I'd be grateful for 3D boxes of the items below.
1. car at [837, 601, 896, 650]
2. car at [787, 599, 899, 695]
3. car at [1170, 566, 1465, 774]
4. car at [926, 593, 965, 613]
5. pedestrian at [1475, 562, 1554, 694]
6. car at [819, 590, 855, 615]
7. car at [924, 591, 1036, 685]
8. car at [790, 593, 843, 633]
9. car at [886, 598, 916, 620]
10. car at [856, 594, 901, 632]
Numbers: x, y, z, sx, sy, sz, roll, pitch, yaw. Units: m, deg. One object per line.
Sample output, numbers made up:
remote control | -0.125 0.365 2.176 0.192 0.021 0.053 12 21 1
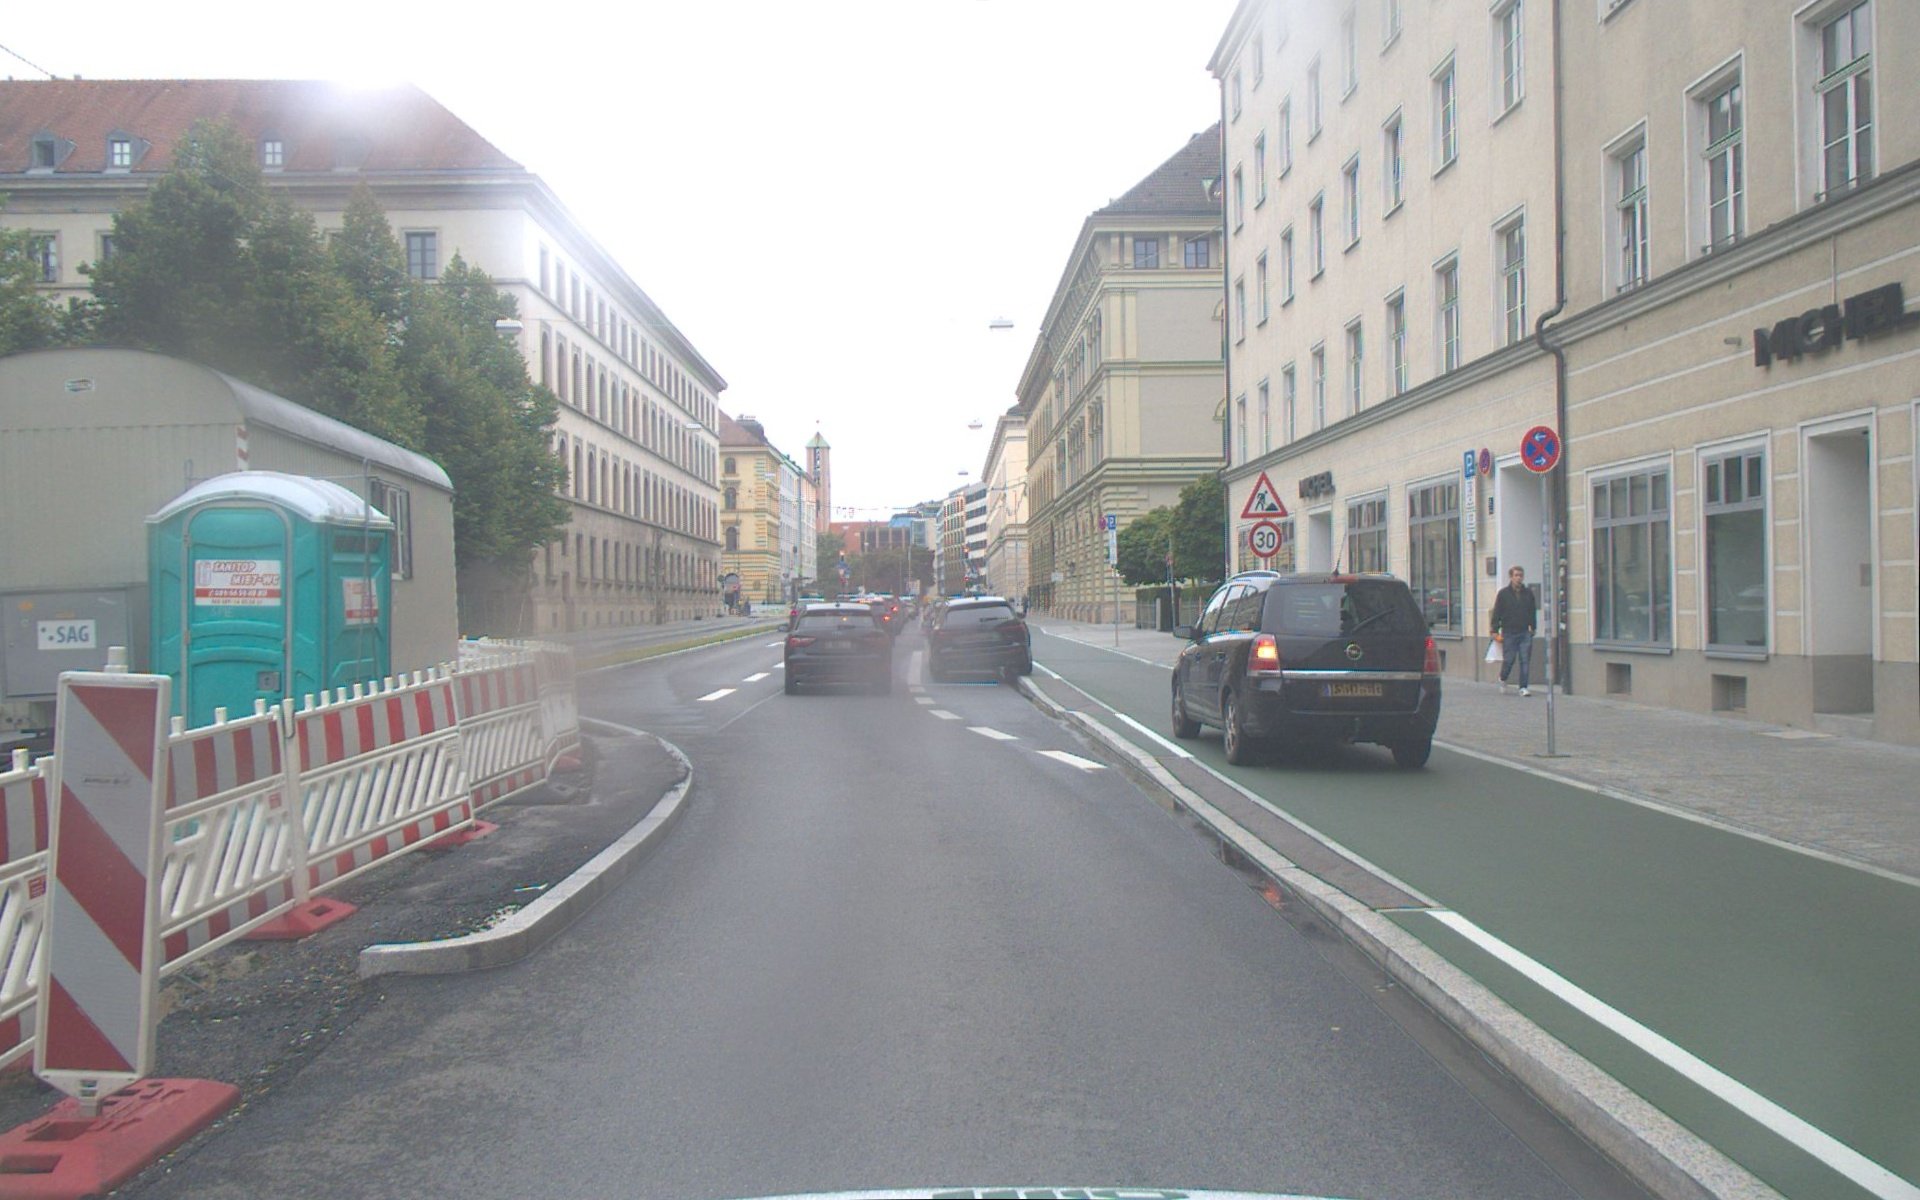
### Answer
car | -2.903 0.768 51.885 1.695 1.427 3.999 0 0 -1
car | -1.946 0.714 27.147 1.696 1.427 3.996 0 0 -5
car | 3.083 0.549 15.094 1.729 1.644 4.028 0 0 -2
car | -1.298 0.242 151.034 1.955 1.780 3.995 -1 0 28
pedestrian | 7.645 0.382 22.841 0.777 1.776 0.833 -1 0 -1
car | -7.549 0.164 101.619 1.953 1.469 3.999 -1 0 -1
car | 0.309 0.663 31.490 1.773 1.506 4.460 -5 0 -3
car | -6.117 0.546 70.903 1.953 1.656 3.999 -1 0 -1
car | -4.061 0.583 113.890 1.953 1.469 3.999 -1 0 -1
car | -3.276 0.493 67.170 1.695 1.486 3.999 0 0 -1
